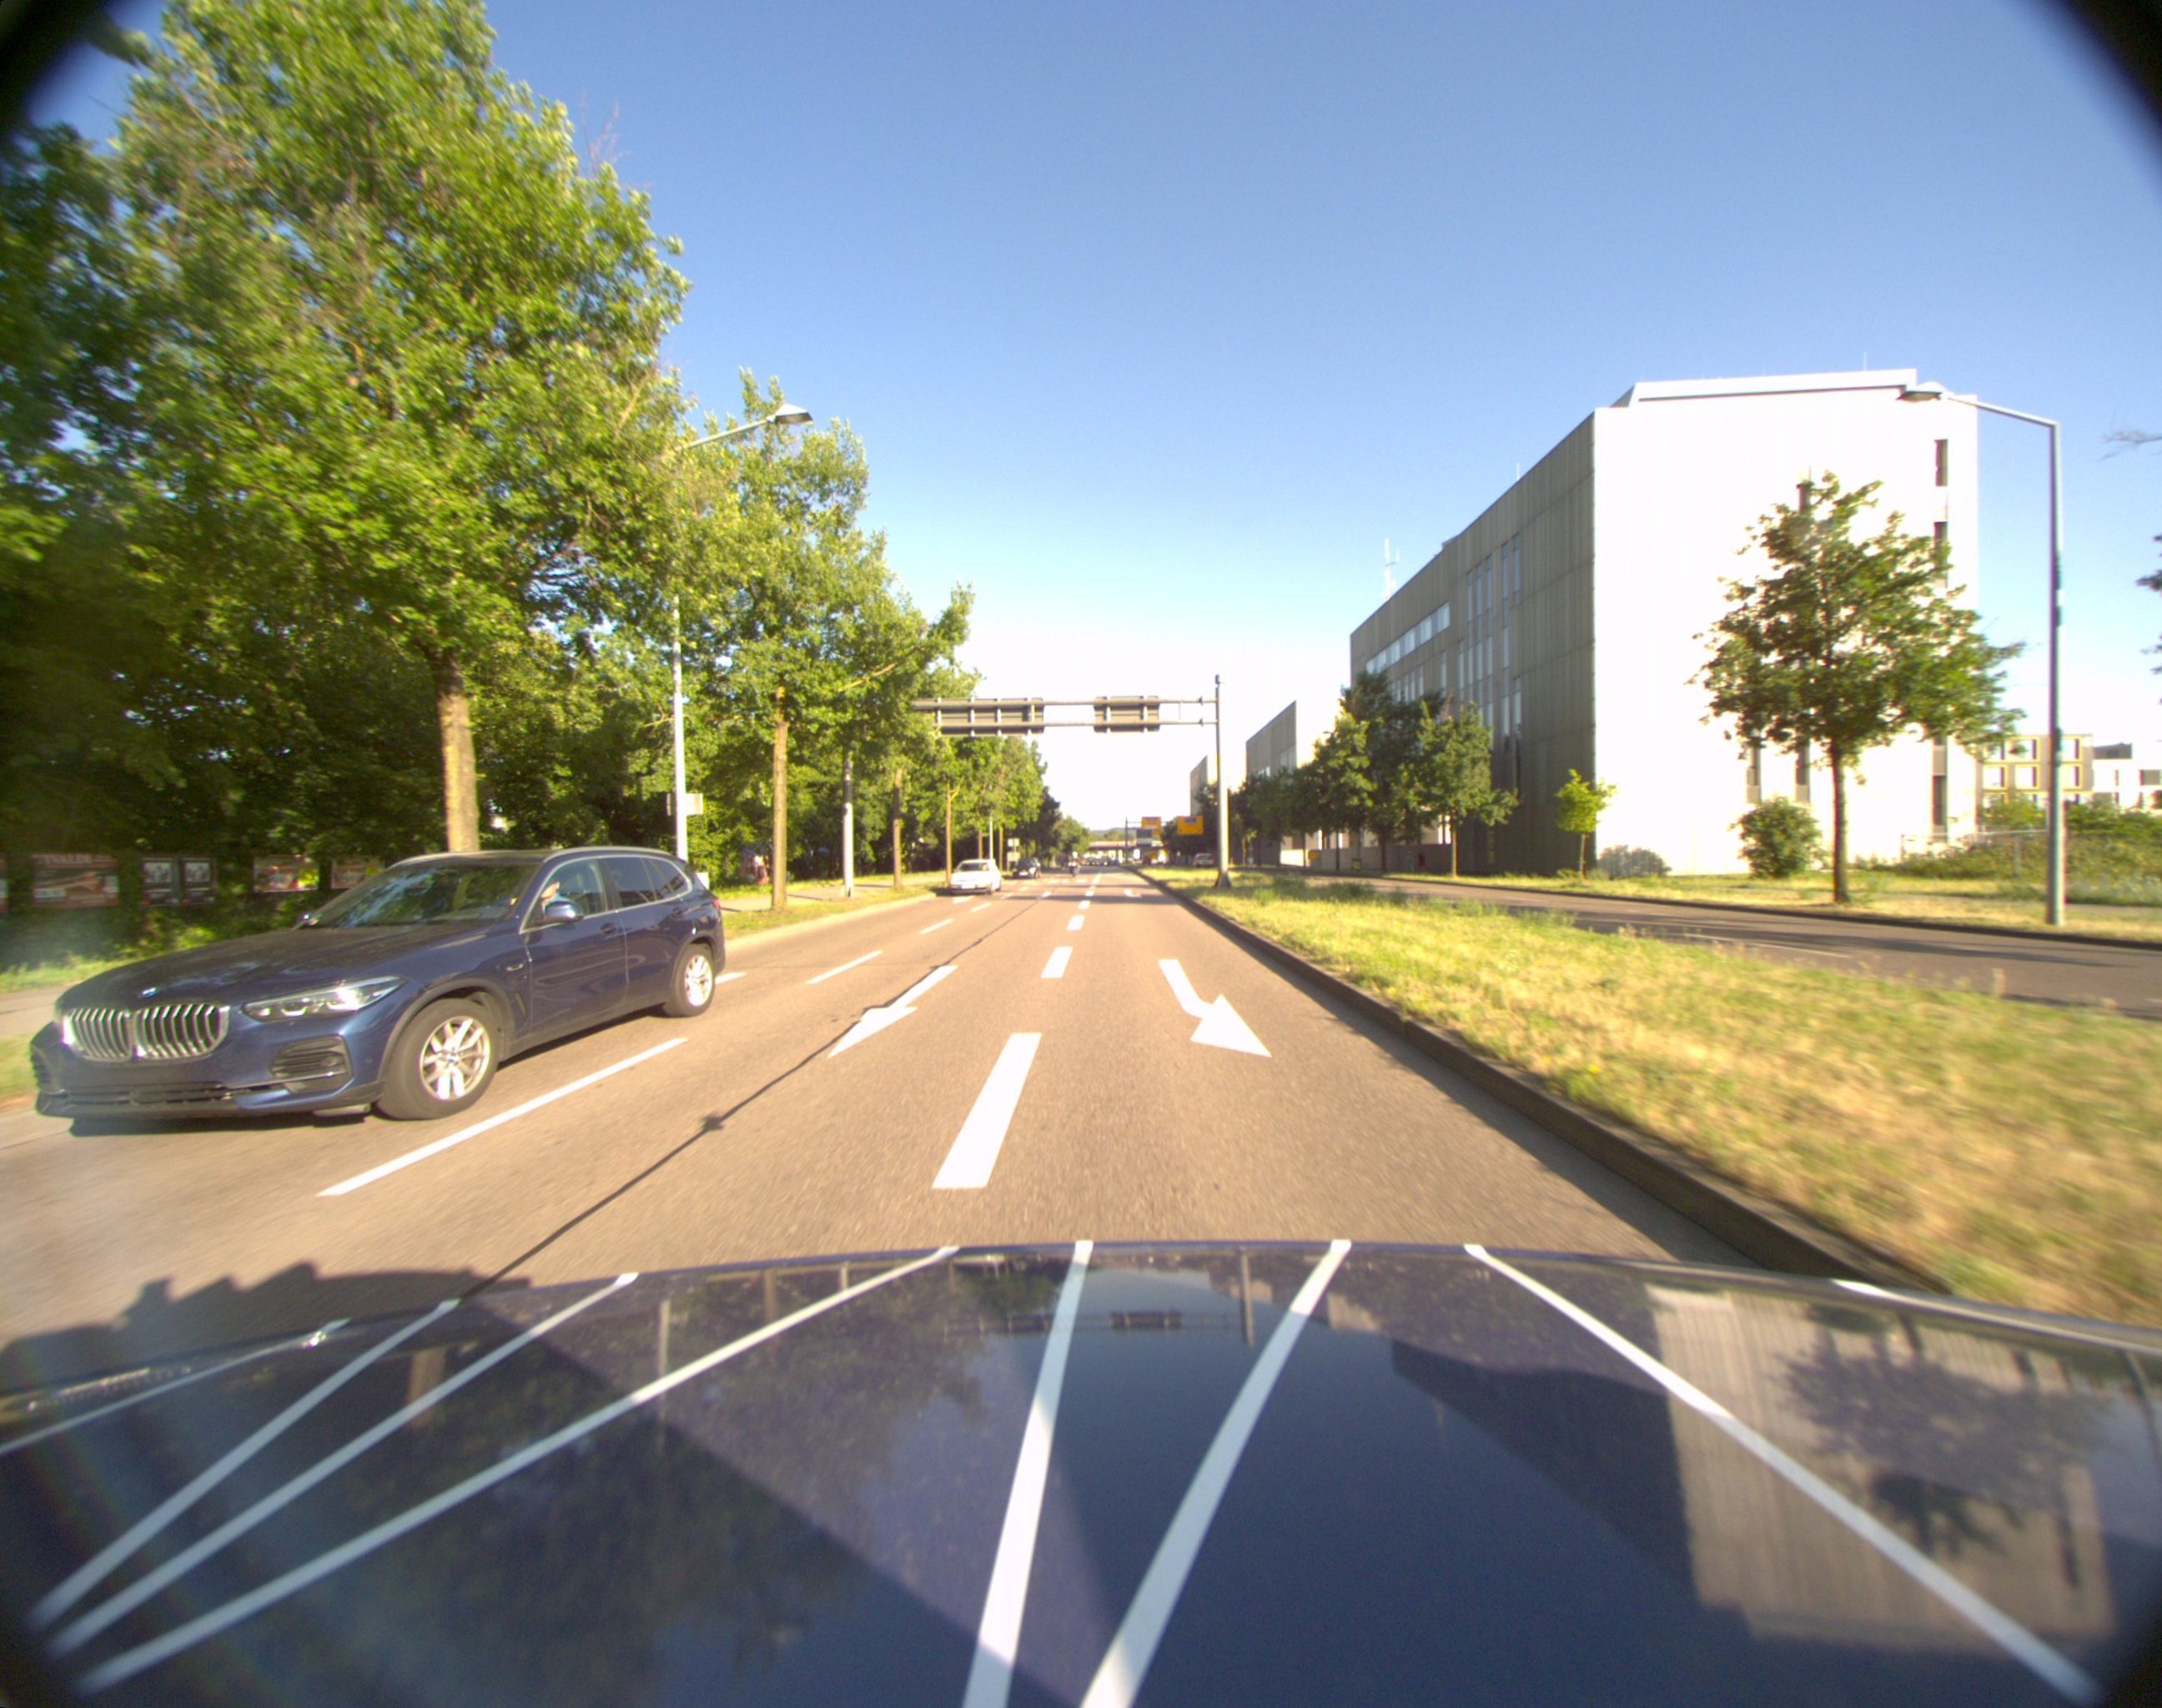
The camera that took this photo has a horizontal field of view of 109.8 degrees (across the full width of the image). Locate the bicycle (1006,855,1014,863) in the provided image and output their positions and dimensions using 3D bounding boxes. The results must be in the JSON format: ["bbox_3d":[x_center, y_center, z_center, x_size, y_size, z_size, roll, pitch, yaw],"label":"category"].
[{"bbox_3d":[-8.488,0.607,90.494,0.618,0.968,2.059,-1,0,4],"label":"bicycle"}]

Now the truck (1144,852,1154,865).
[{"bbox_3d":[20.983,1.466,234.727,3.004,3.789,10.093,-1,0,5],"label":"truck"}]

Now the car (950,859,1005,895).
[{"bbox_3d":[-4.206,0.934,31.453,1.614,1.390,4.039,-1,-1,2],"label":"car"}]

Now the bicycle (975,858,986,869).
[{"bbox_3d":[-9.715,0.928,73.446,0.618,0.968,1.822,0,0,4],"label":"bicycle"}]

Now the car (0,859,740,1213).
[{"bbox_3d":[-4.921,0.958,6.224,1.959,1.717,4.699,-2,0,2],"label":"car"}]

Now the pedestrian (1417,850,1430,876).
[{"bbox_3d":[25.057,0.650,55.607,0.634,1.830,0.717,-1,0,3],"label":"pedestrian"}]

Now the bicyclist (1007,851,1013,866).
[{"bbox_3d":[-8.466,0.526,90.975,0.604,1.723,0.848,-1,0,4],"label":"bicyclist"}]

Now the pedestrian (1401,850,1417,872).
[{"bbox_3d":[24.367,0.522,56.452,0.778,1.592,0.909,-1,0,3],"label":"pedestrian"}]

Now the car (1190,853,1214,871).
[{"bbox_3d":[10.857,0.664,68.094,1.566,1.565,3.412,0,0,-1],"label":"car"}]

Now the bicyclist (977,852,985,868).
[{"bbox_3d":[-9.699,0.598,73.679,0.614,1.493,0.848,-1,0,4],"label":"bicyclist"}]

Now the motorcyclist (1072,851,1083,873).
[{"bbox_3d":[-0.247,0.574,52.193,0.734,1.503,0.919,0,0,1],"label":"motorcyclist"}]

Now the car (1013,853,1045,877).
[{"bbox_3d":[-3.471,0.746,51.654,1.725,1.490,4.214,-2,-1,1],"label":"car"}]

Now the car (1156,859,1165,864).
[{"bbox_3d":[22.358,2.085,214.103,1.600,1.503,3.865,-1,0,-6],"label":"car"}]

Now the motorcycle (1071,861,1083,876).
[{"bbox_3d":[-0.255,0.994,51.961,0.749,0.977,2.140,0,0,1],"label":"motorcycle"}]
